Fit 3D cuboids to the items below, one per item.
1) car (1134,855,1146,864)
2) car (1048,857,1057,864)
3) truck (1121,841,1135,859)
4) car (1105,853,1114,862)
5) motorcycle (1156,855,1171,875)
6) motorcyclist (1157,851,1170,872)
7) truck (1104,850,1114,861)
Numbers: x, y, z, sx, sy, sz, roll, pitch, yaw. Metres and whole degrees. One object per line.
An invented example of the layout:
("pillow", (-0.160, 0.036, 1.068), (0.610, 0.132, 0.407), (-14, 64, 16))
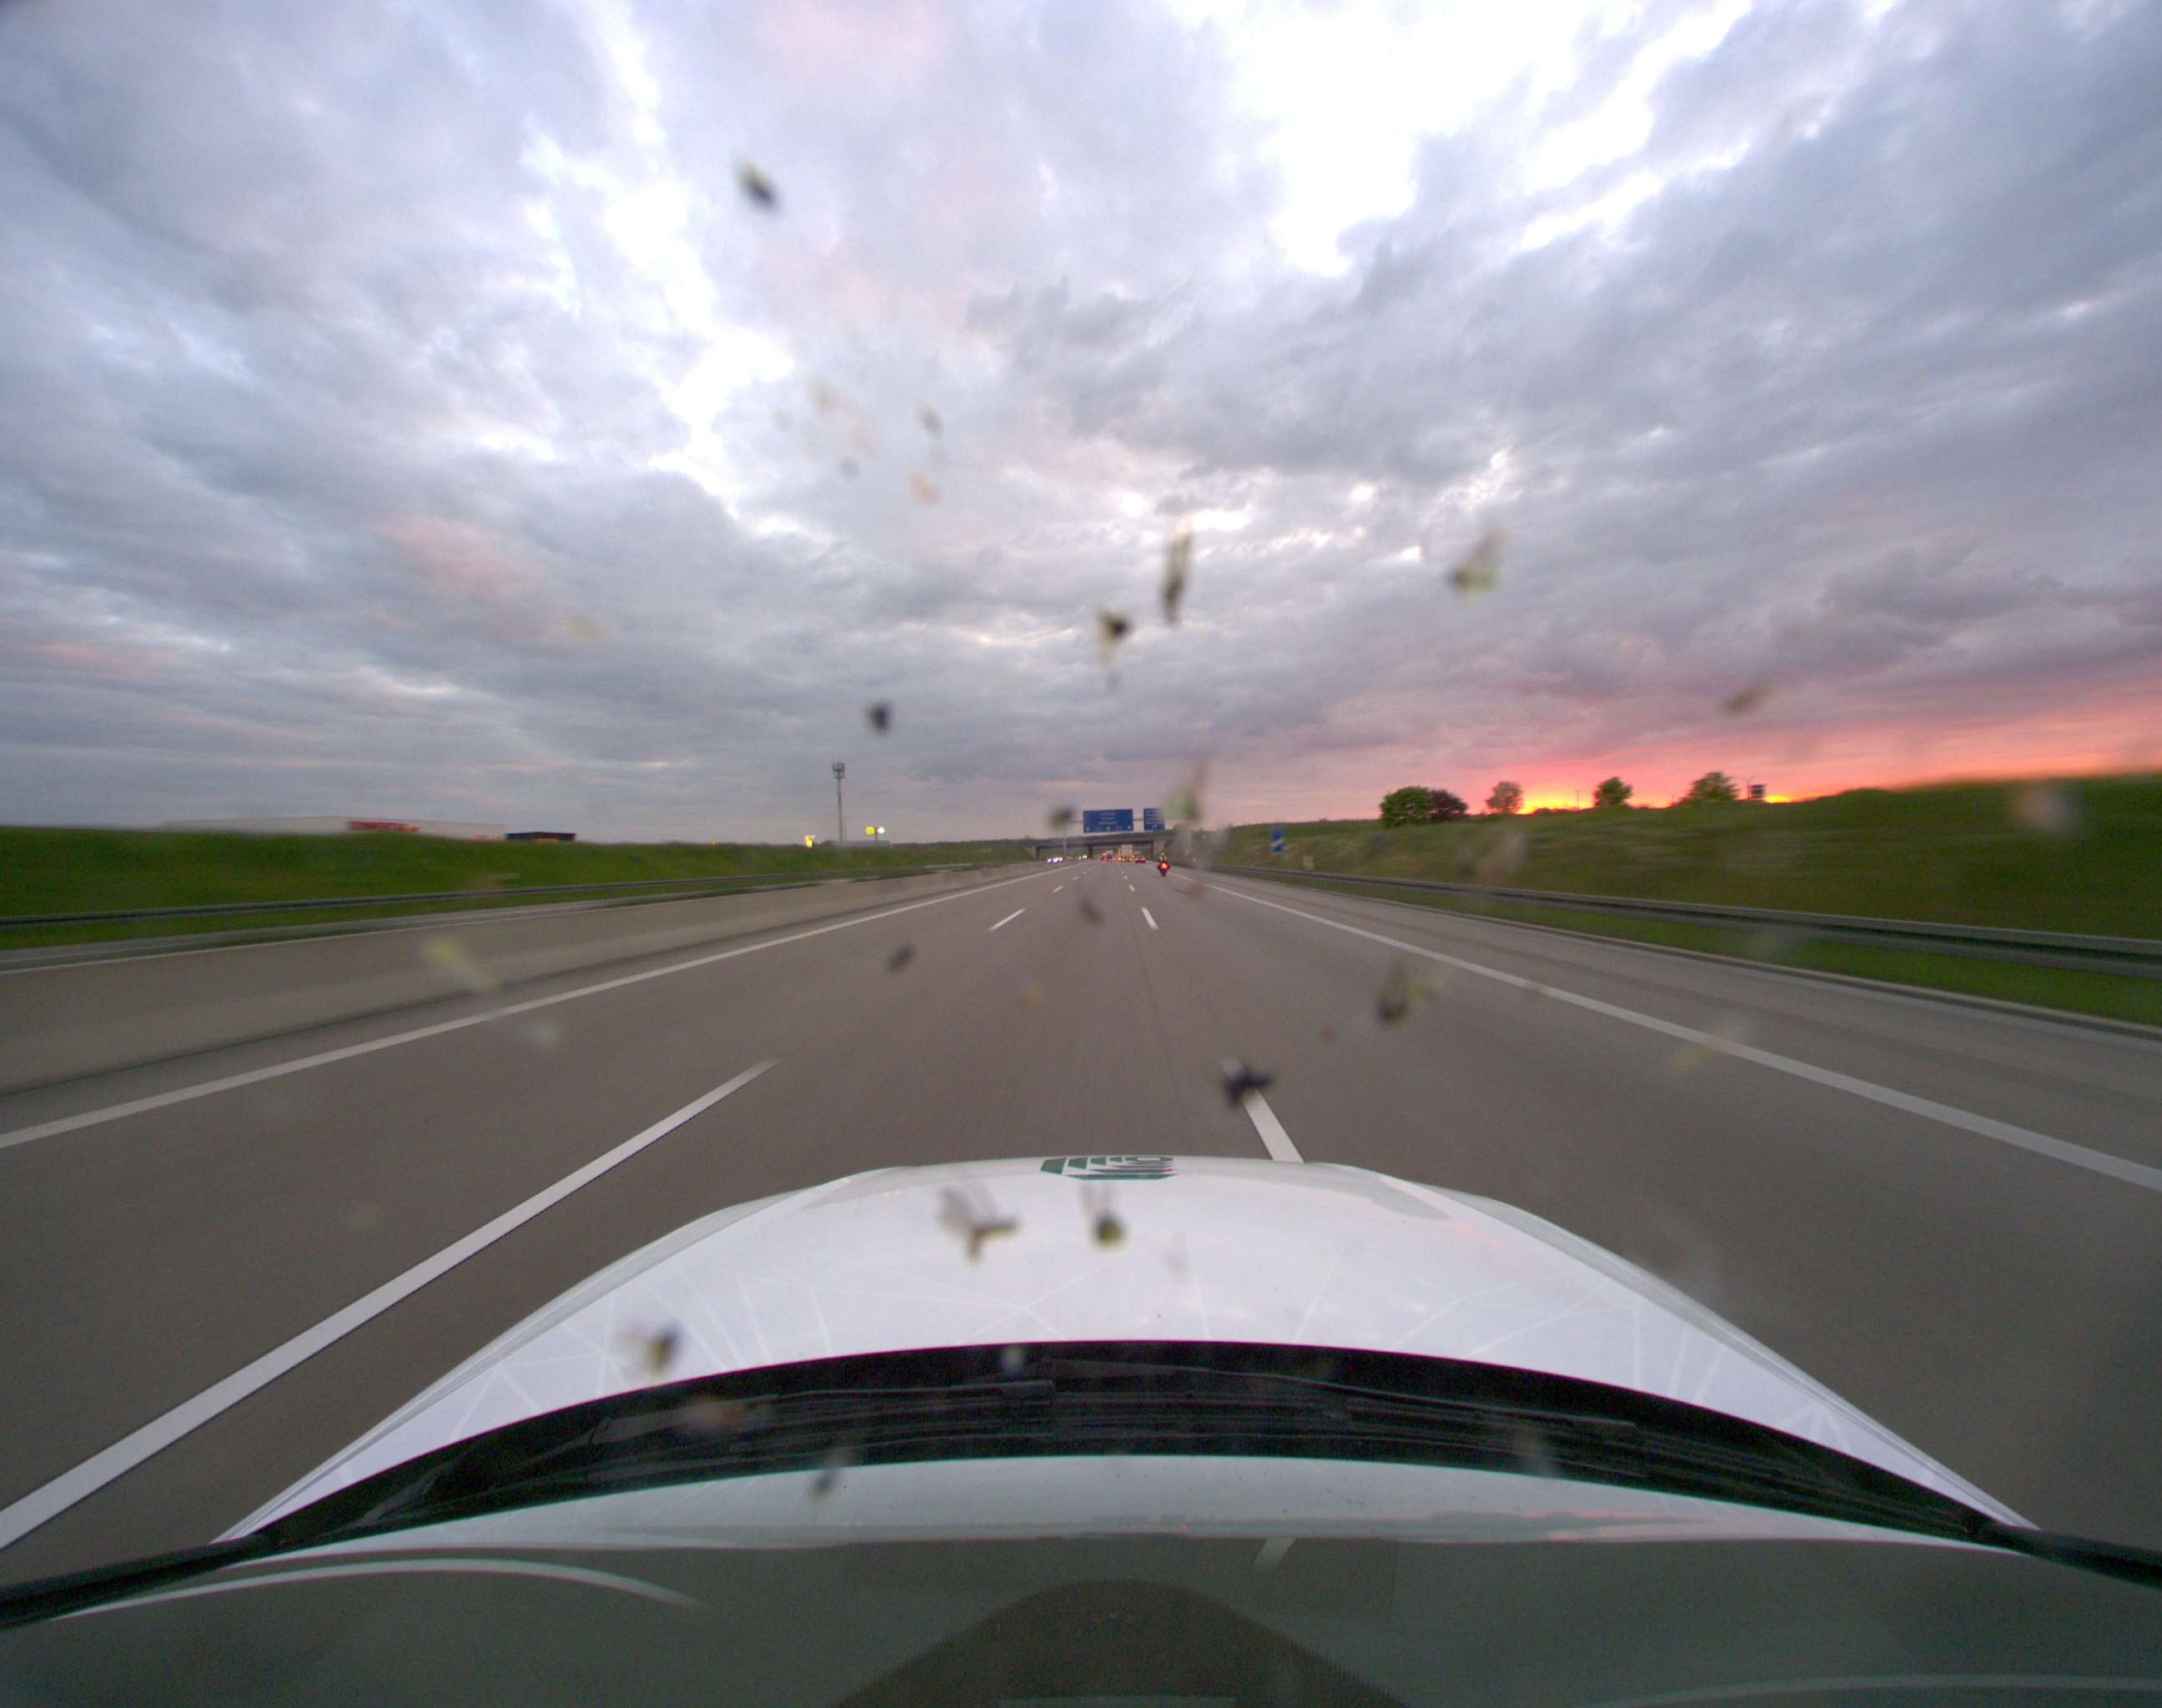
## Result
("car", (10.977, 0.942, 151.420), (1.911, 1.579, 4.001), (-1, 0, 1))
("car", (-7.468, 1.679, 215.049), (1.996, 1.587, 4.573), (-2, 0, 1))
("truck", (11.102, -0.962, 193.024), (3.221, 4.227, 9.605), (0, 0, 3))
("car", (8.280, 1.075, 237.047), (2.507, 2.391, 6.498), (-2, 0, 1))
("motorcycle", (5.851, 0.777, 57.836), (0.898, 1.346, 2.350), (-1, 1, 3))
("motorcyclist", (5.842, 0.517, 57.674), (0.862, 1.487, 1.169), (0, 0, 2))
("truck", (8.756, 0.458, 253.175), (2.941, 3.217, 8.409), (0, 0, 2))
